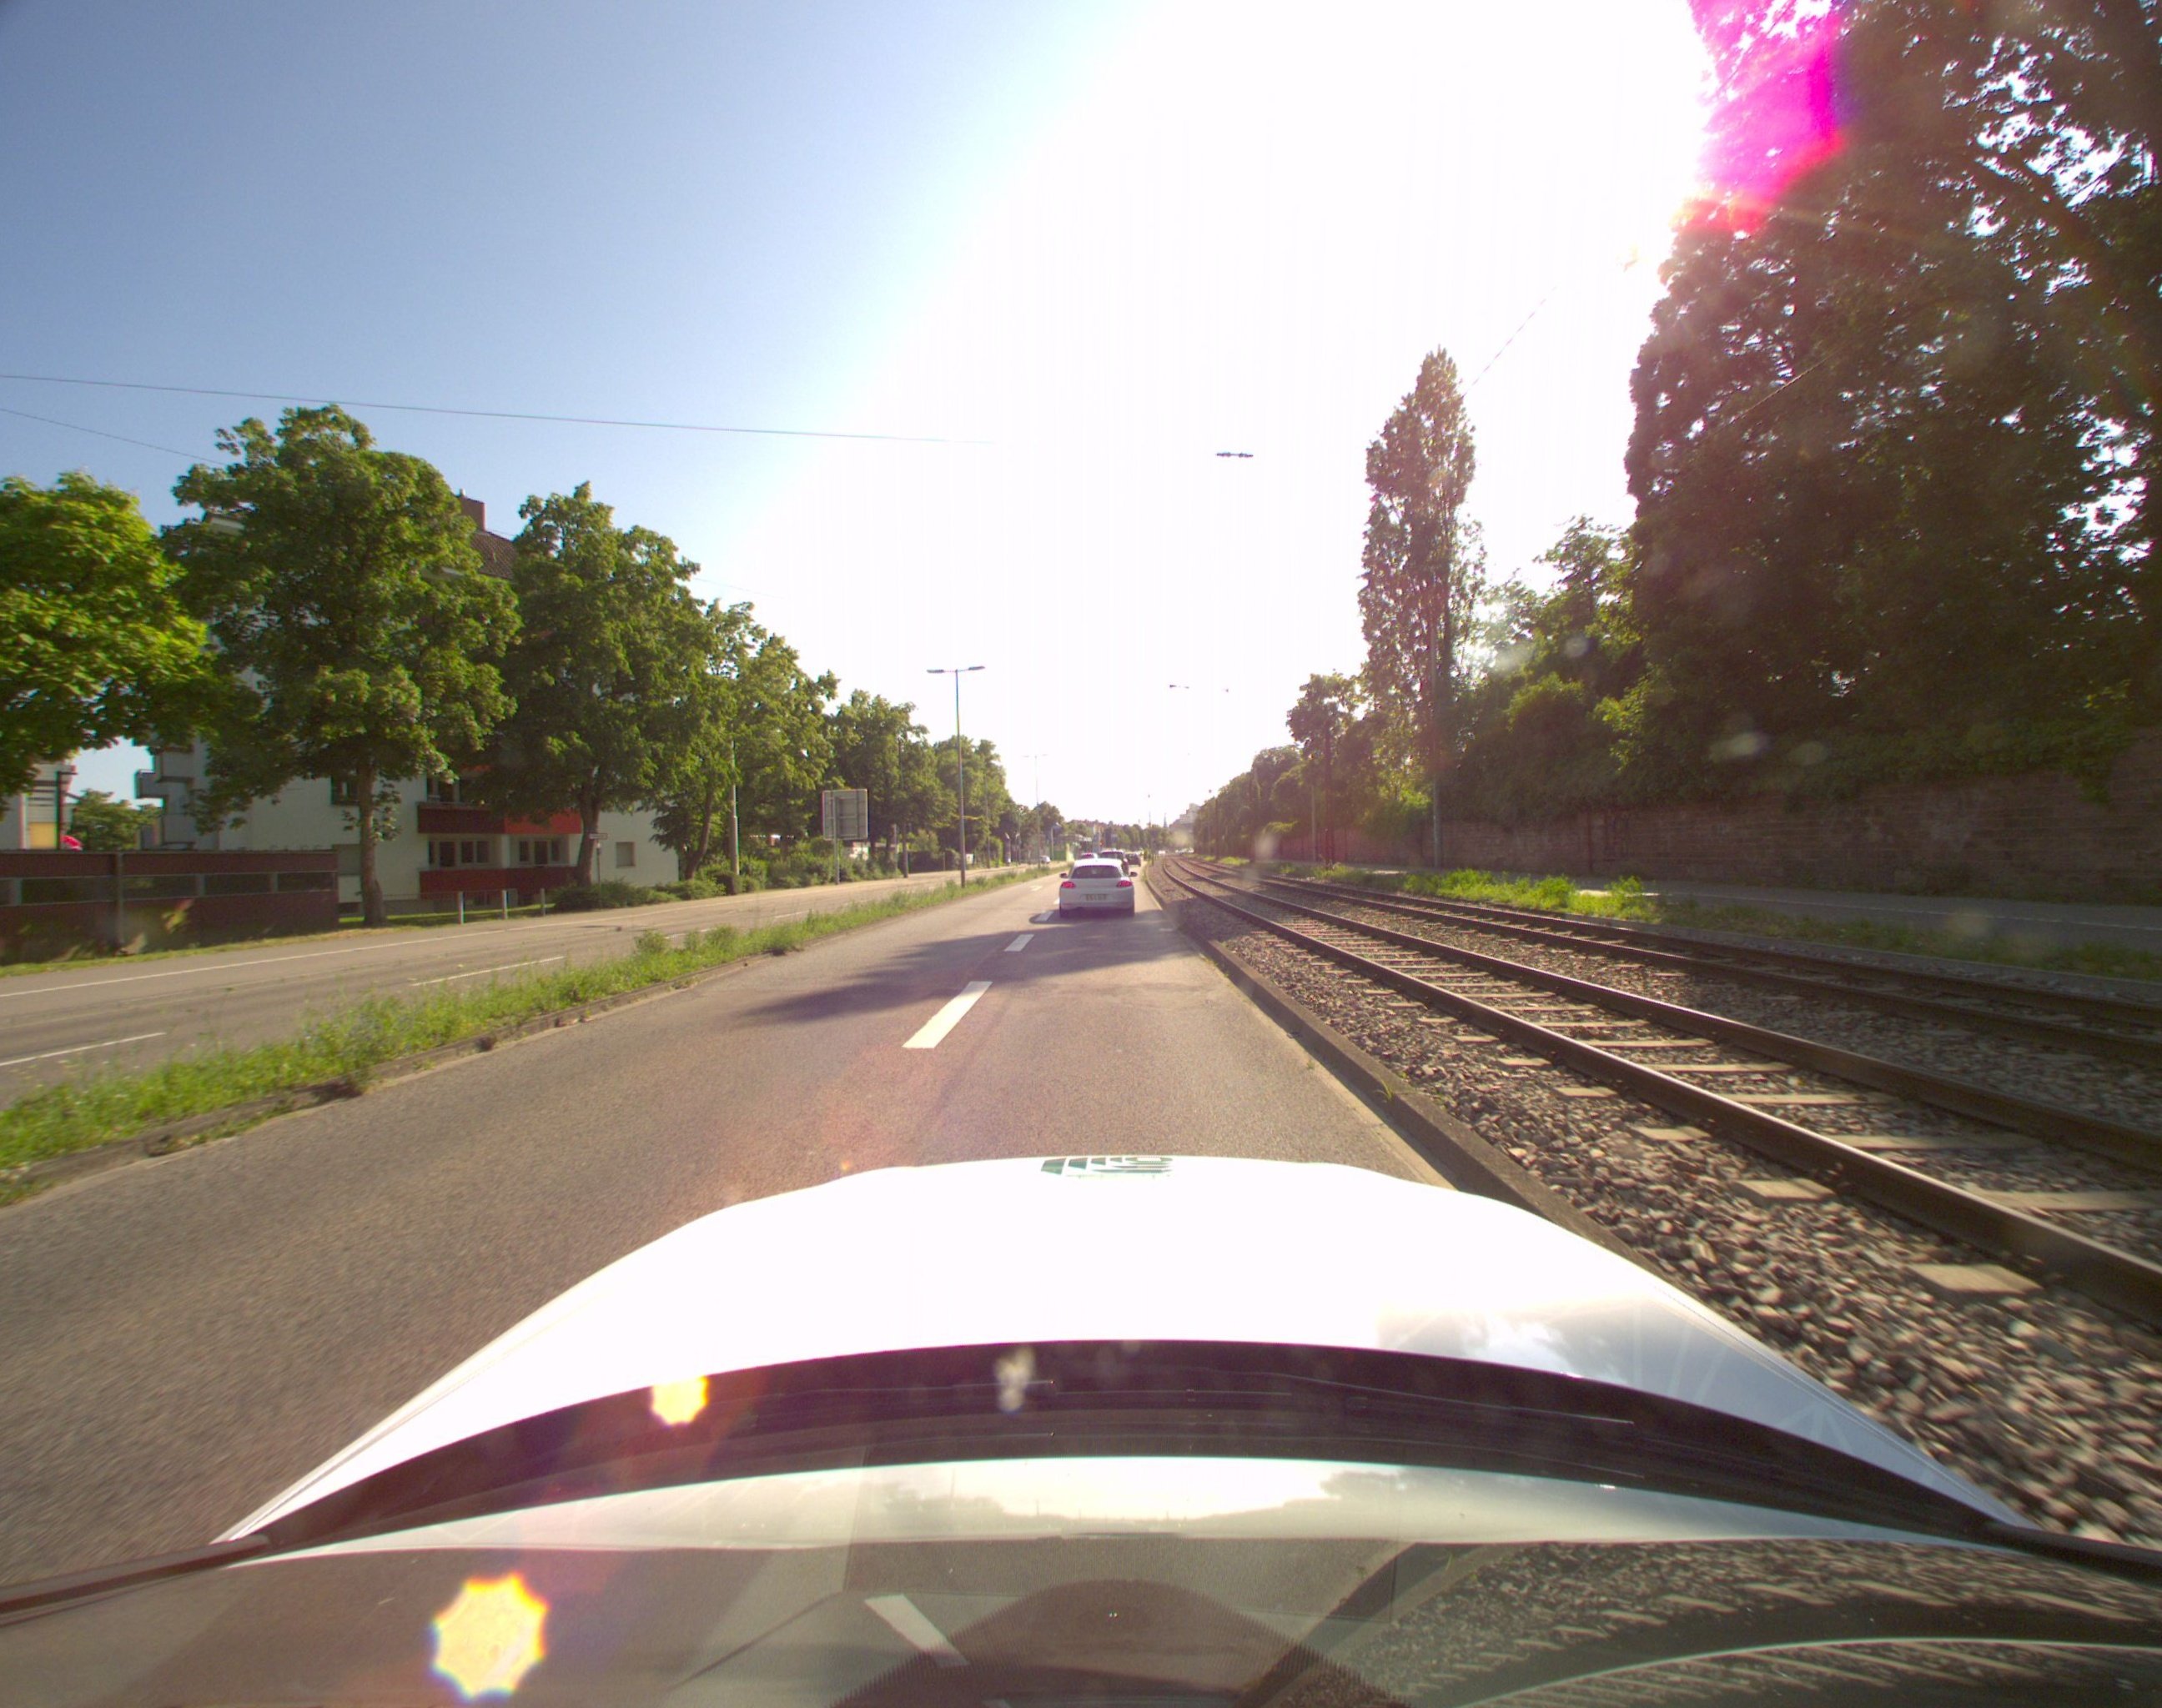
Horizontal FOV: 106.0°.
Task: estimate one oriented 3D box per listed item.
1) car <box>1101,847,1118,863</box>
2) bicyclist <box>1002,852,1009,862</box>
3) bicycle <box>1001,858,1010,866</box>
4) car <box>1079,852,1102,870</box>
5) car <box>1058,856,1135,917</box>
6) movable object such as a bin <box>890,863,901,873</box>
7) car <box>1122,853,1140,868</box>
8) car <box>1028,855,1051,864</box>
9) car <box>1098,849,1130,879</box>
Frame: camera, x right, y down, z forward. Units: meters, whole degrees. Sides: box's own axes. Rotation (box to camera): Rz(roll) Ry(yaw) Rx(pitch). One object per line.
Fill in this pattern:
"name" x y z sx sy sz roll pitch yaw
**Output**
"car" 3.634 0.162 102.897 1.809 1.963 4.408 -2 0 4
"bicyclist" -11.110 0.455 119.485 0.658 1.452 1.053 -2 0 9
"bicycle" -11.095 1.154 119.427 0.658 1.049 2.587 -2 0 9
"car" 0.835 0.538 69.149 1.753 1.485 4.647 0 0 2
"car" 0.427 0.758 20.517 1.774 1.356 3.603 0 0 2
"movable object such as a bin" -18.843 1.441 82.809 0.812 0.931 0.854 -2 0 4
"car" 5.121 0.615 83.058 1.742 1.485 3.603 0 0 2
"car" -7.281 0.899 142.609 3.553 1.588 1.710 0 0 31
"car" 1.825 0.519 45.200 1.717 1.593 3.603 0 0 2
